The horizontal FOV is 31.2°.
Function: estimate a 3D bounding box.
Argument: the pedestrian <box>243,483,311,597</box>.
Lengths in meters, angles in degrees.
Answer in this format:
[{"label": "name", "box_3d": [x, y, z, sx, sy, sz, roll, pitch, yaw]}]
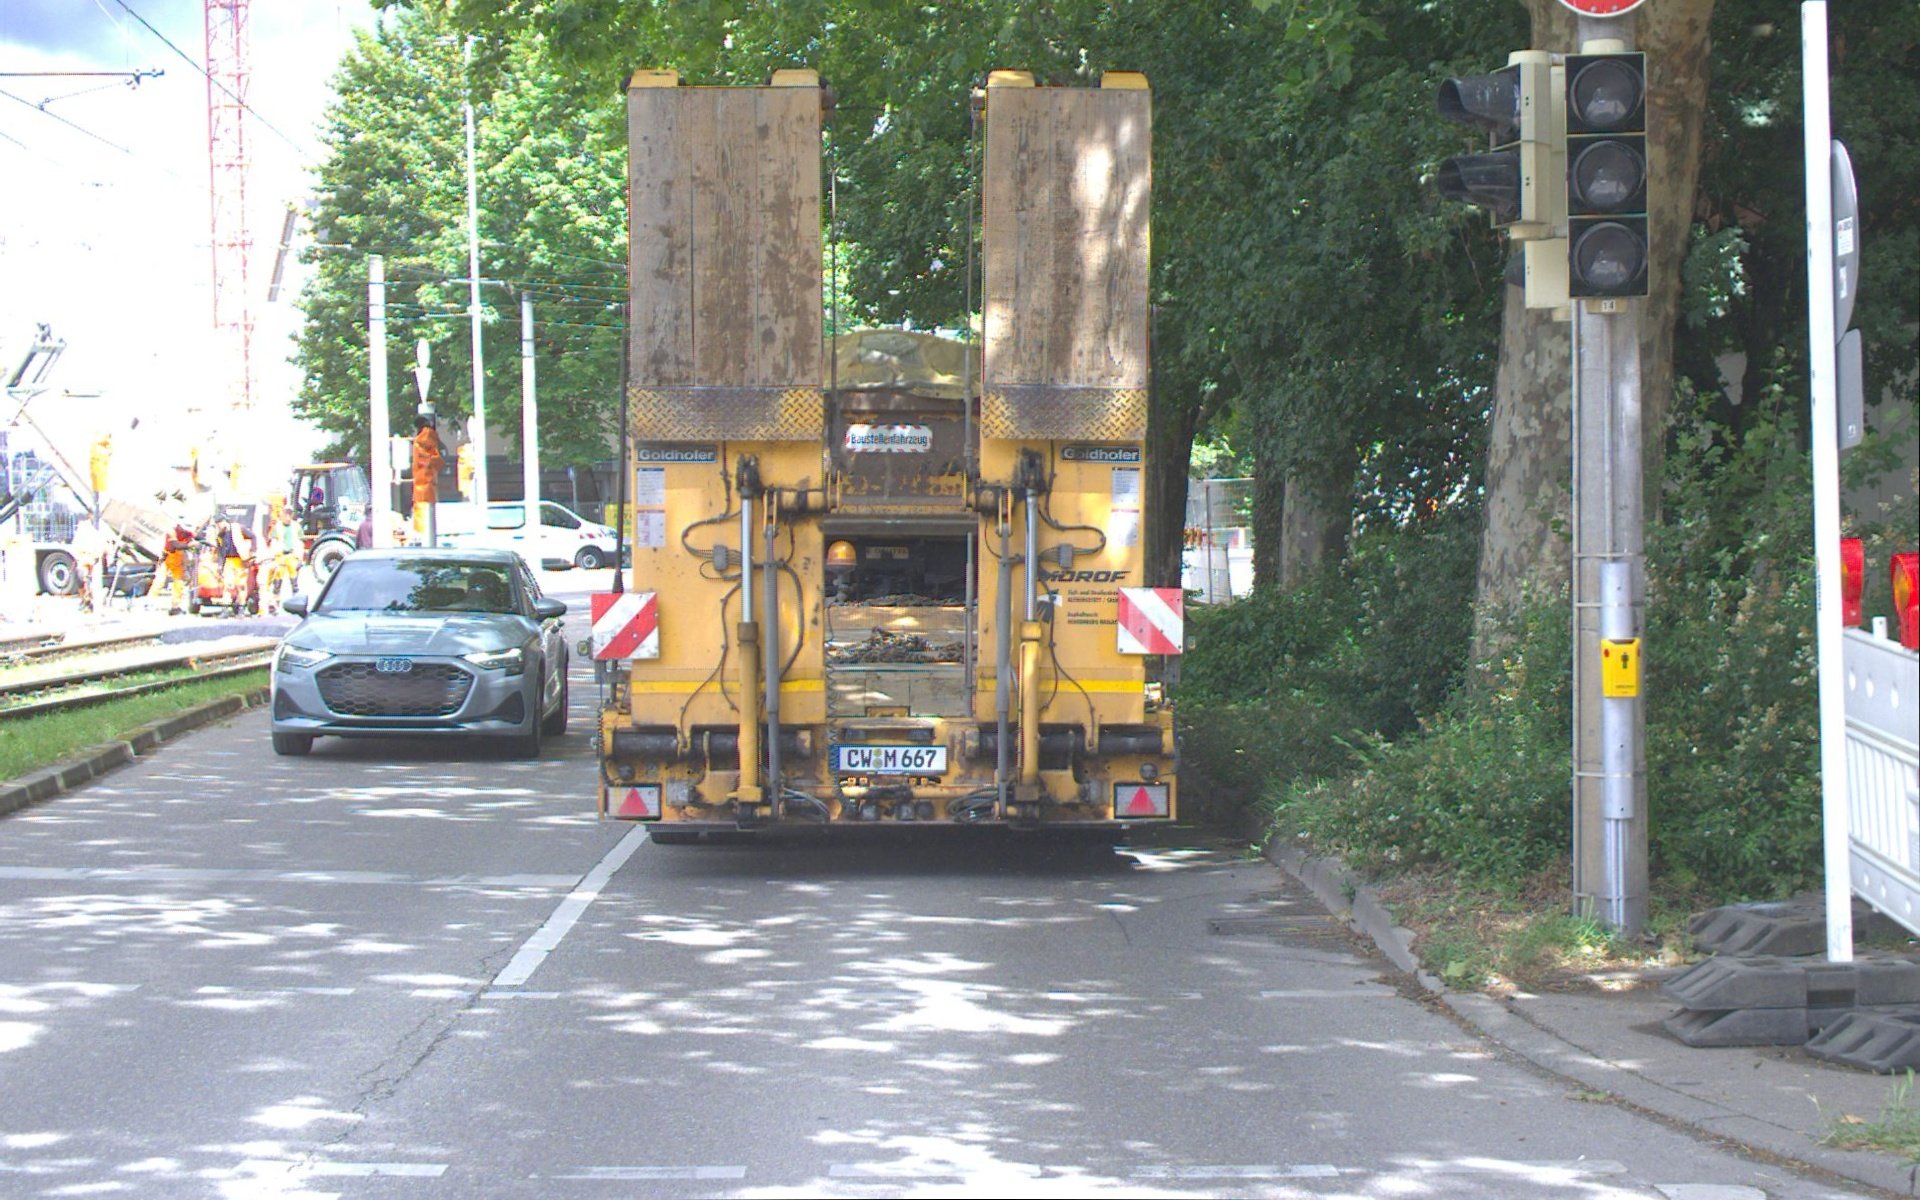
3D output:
[{"label": "pedestrian", "box_3d": [-11.293, -0.996, 56.847, 0.885, 1.861, 0.837, 0, 1, -29]}]

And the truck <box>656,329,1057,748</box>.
[{"label": "truck", "box_3d": [-0.862, -0.508, 29.597, 2.989, 3.124, 7.888, 0, 1, -1]}]

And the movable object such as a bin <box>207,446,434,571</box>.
[{"label": "movable object such as a bin", "box_3d": [-13.844, -1.959, 74.449, 4.373, 2.620, 2.217, 0, 1, 26]}]

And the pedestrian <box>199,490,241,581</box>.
[{"label": "pedestrian", "box_3d": [-15.299, -1.339, 71.084, 0.834, 1.861, 0.888, 0, 1, -12]}]

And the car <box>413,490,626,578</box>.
[{"label": "car", "box_3d": [-11.167, -1.682, 87.015, 5.088, 2.095, 1.977, -1, 1, -15]}]

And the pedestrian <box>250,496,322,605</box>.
[{"label": "pedestrian", "box_3d": [-11.620, -0.848, 59.274, 0.887, 1.861, 0.836, 1, 1, 28]}]

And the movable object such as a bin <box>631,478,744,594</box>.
[{"label": "movable object such as a bin", "box_3d": [-4.823, -1.140, 61.017, 1.399, 2.007, 2.555, 0, 1, 10]}]

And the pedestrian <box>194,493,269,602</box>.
[{"label": "pedestrian", "box_3d": [-11.833, -0.859, 55.849, 0.886, 1.754, 0.836, 0, 1, 18]}]

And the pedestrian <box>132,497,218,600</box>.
[{"label": "pedestrian", "box_3d": [-13.117, -0.859, 57.462, 1.108, 1.709, 0.888, -1, 1, -45]}]

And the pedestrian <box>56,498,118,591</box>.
[{"label": "pedestrian", "box_3d": [-15.615, -0.994, 61.509, 0.885, 1.639, 0.900, 0, 1, -28]}]

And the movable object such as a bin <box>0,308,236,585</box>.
[{"label": "movable object such as a bin", "box_3d": [-19.365, -3.042, 70.317, 9.215, 5.396, 2.660, 0, 1, 26]}]

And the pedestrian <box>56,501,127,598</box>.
[{"label": "pedestrian", "box_3d": [-14.833, -0.862, 58.731, 0.886, 1.639, 0.837, -1, 1, -43]}]

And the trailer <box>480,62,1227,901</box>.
[{"label": "trailer", "box_3d": [-0.610, -0.565, 20.094, 3.154, 3.540, 11.098, 0, 1, -2]}]

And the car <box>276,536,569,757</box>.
[{"label": "car", "box_3d": [-3.714, 0.266, 24.294, 1.635, 1.430, 3.852, 0, 1, -3]}]
